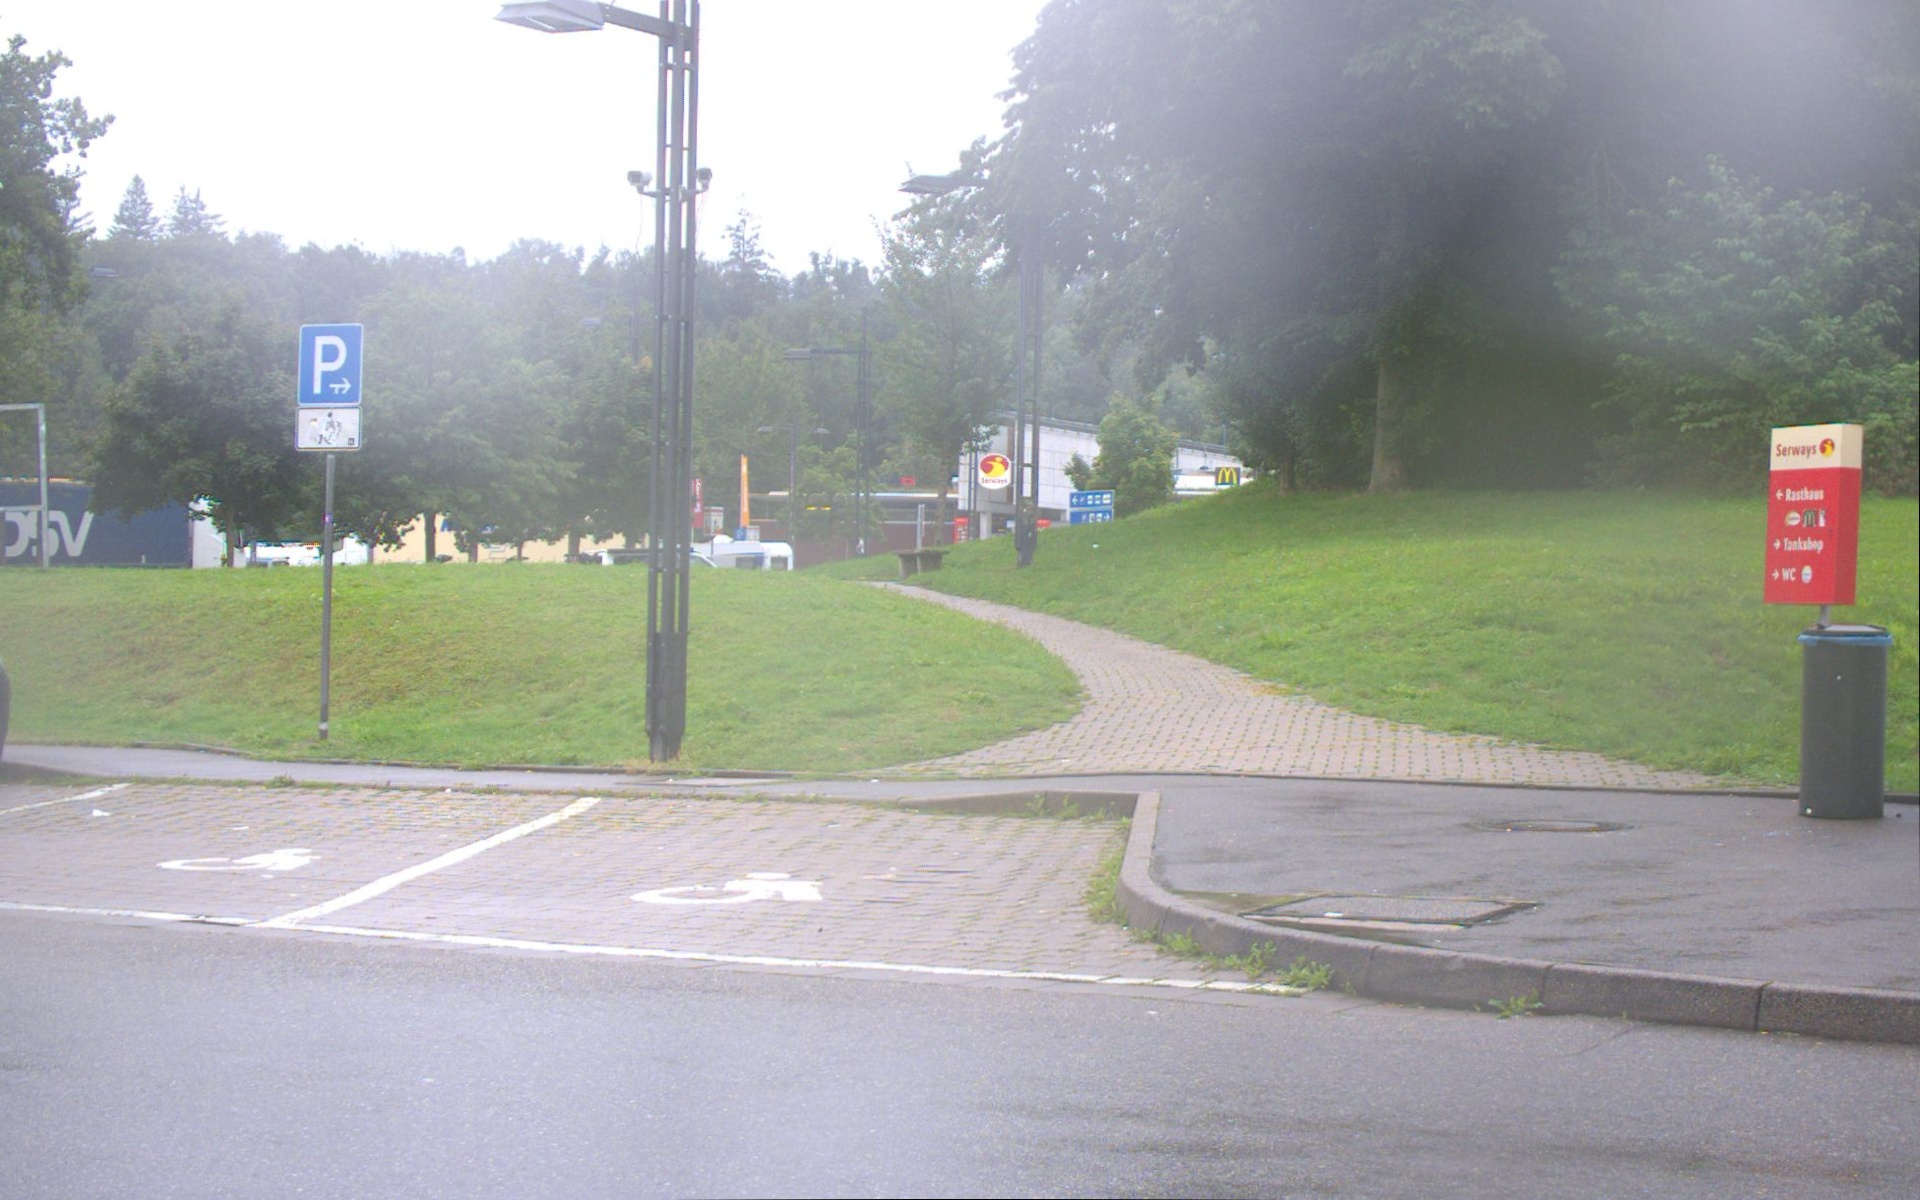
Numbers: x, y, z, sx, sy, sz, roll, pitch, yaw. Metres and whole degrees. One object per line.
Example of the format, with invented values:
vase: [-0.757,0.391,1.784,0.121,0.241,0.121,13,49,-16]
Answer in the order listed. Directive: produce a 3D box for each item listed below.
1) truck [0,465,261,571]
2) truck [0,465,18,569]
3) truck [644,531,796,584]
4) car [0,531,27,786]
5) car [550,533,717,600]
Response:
truck: [-25.462,-2.363,101.642,2.188,2.910,13.082,1,1,24]
truck: [-28.601,-2.338,94.672,2.189,2.910,5.380,1,1,24]
truck: [-9.325,-1.659,133.819,5.413,2.007,2.364,1,1,25]
car: [-7.799,0.454,21.505,2.018,1.705,4.341,-1,1,12]
car: [-8.825,-0.901,93.106,4.124,1.777,1.844,0,1,-36]
